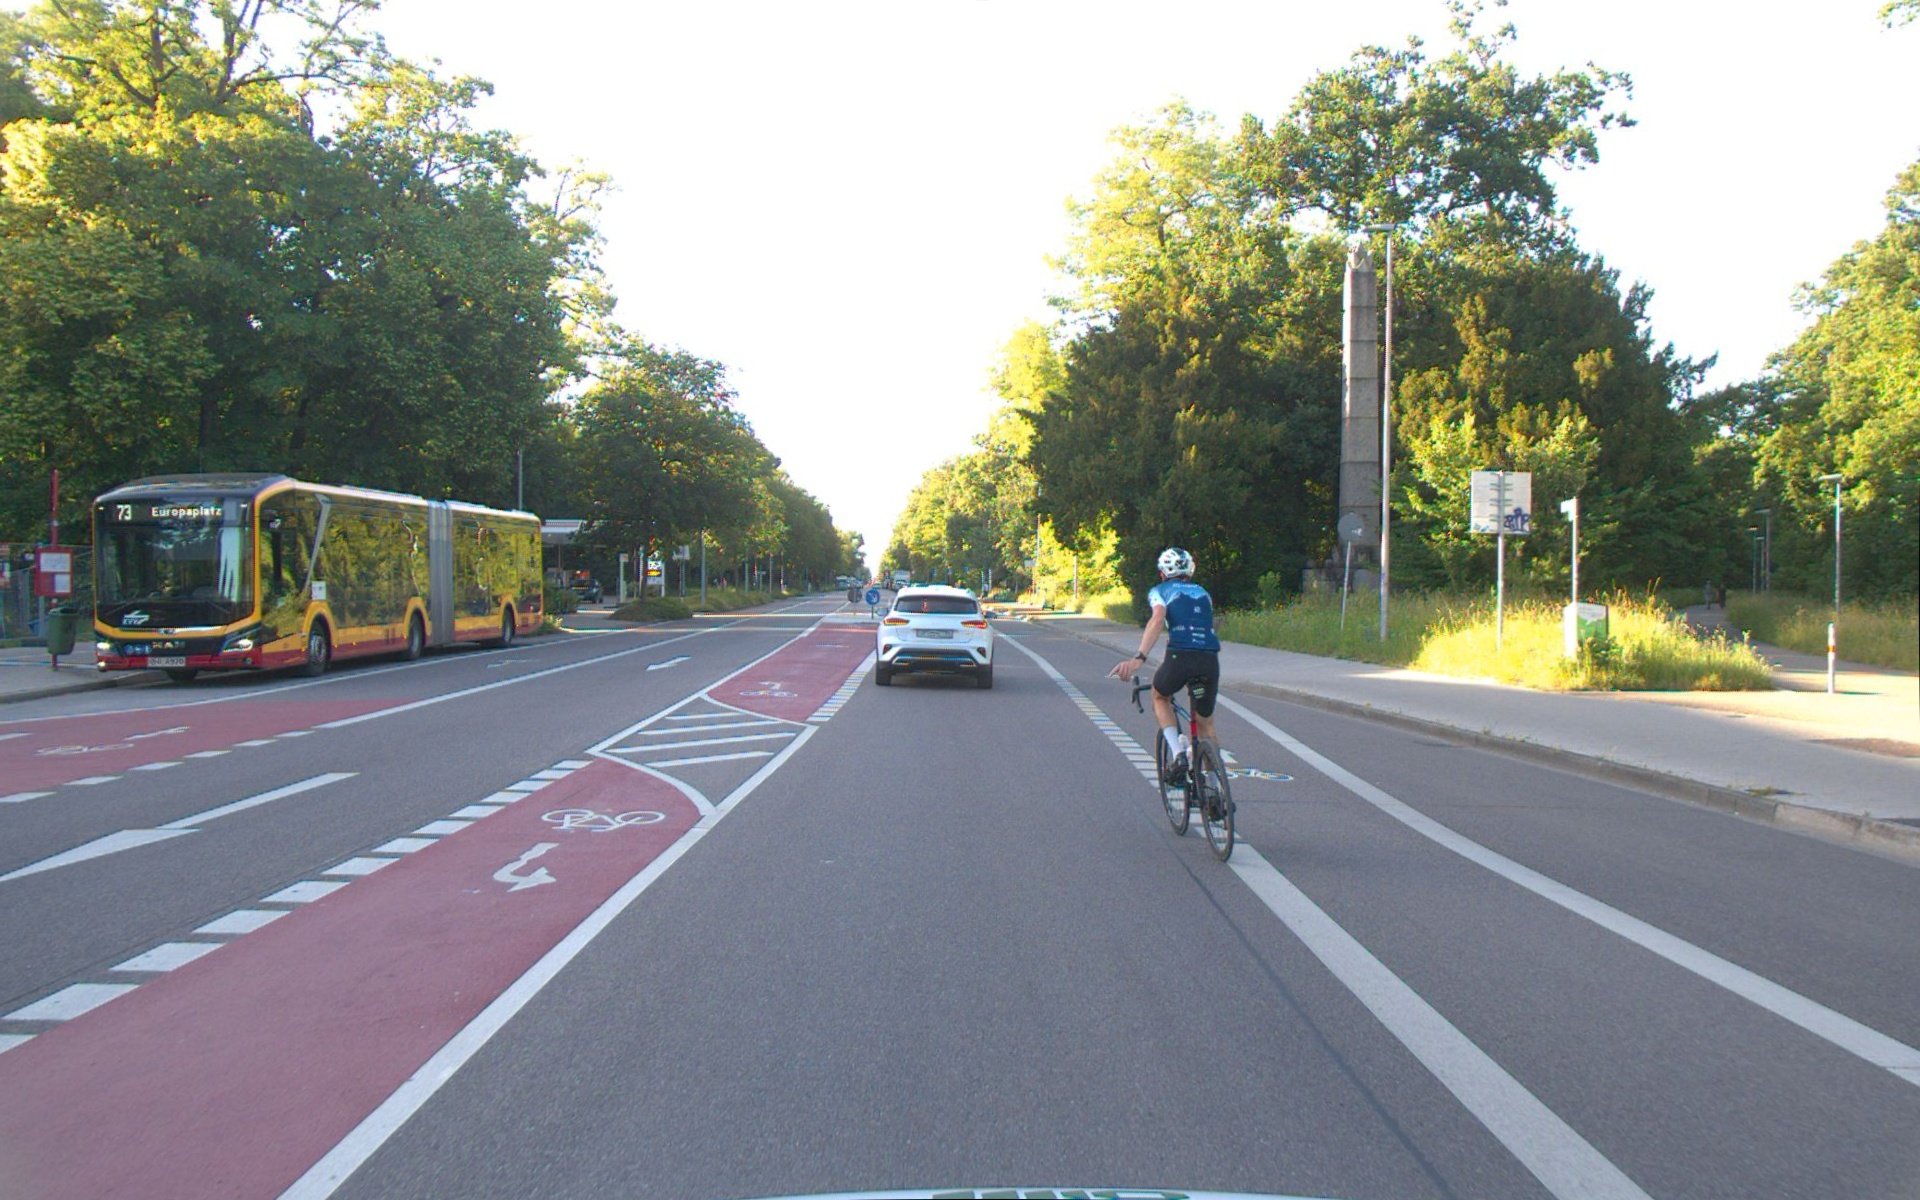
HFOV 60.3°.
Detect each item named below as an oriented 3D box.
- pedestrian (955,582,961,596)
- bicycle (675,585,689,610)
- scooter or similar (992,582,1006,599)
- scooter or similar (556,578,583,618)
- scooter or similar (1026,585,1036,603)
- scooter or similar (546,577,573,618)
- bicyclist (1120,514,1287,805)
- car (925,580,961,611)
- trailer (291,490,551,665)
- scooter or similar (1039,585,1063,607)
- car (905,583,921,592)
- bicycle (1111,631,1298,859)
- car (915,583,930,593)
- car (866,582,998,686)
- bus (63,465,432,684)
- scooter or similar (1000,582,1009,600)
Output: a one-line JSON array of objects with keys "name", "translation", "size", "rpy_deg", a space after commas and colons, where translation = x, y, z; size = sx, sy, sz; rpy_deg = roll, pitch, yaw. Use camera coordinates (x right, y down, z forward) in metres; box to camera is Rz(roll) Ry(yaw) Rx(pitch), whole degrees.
[{"name": "pedestrian", "translation": [-0.266, -1.335, 202.703], "size": [0.684, 1.682, 0.876], "rpy_deg": [0, 0, -3]}, {"name": "bicycle", "translation": [-14.618, -0.136, 87.019], "size": [0.642, 1.272, 2.156], "rpy_deg": [0, 1, -7]}, {"name": "scooter or similar", "translation": [3.434, -0.833, 145.370], "size": [0.671, 1.448, 1.673], "rpy_deg": [0, 1, -18]}, {"name": "scooter or similar", "translation": [-17.236, -0.109, 73.086], "size": [0.811, 1.747, 1.740], "rpy_deg": [0, 1, -2]}, {"name": "scooter or similar", "translation": [4.862, -0.415, 113.626], "size": [0.522, 1.272, 1.540], "rpy_deg": [0, 1, -2]}, {"name": "scooter or similar", "translation": [-17.223, -0.099, 71.143], "size": [0.811, 1.747, 1.740], "rpy_deg": [0, 1, -2]}, {"name": "bicyclist", "translation": [1.391, 0.323, 9.620], "size": [0.842, 1.594, 0.881], "rpy_deg": [2, 1, 3]}, {"name": "car", "translation": [-0.787, -0.220, 78.495], "size": [1.641, 1.442, 3.574], "rpy_deg": [0, 1, 1]}, {"name": "trailer", "translation": [-11.981, -0.485, 37.889], "size": [2.796, 3.414, 9.362], "rpy_deg": [2, 0, 0]}, {"name": "scooter or similar", "translation": [5.254, -0.240, 95.780], "size": [0.525, 1.272, 1.531], "rpy_deg": [0, 1, 44]}, {"name": "car", "translation": [-6.765, -1.801, 237.055], "size": [1.955, 1.350, 3.995], "rpy_deg": [0, 1, -6]}, {"name": "bicycle", "translation": [1.393, 0.785, 9.826], "size": [0.872, 1.114, 2.137], "rpy_deg": [2, 1, 3]}, {"name": "car", "translation": [-5.037, -1.625, 221.428], "size": [1.954, 1.350, 3.998], "rpy_deg": [0, 1, -3]}, {"name": "car", "translation": [-0.516, 0.483, 26.136], "size": [1.727, 1.485, 3.813], "rpy_deg": [1, 0, -6]}, {"name": "bus", "translation": [-11.973, -0.420, 28.913], "size": [2.782, 3.252, 8.599], "rpy_deg": [0, 1, -1]}, {"name": "scooter or similar", "translation": [3.740, -0.764, 139.357], "size": [0.668, 1.448, 1.681], "rpy_deg": [0, 1, -3]}]
